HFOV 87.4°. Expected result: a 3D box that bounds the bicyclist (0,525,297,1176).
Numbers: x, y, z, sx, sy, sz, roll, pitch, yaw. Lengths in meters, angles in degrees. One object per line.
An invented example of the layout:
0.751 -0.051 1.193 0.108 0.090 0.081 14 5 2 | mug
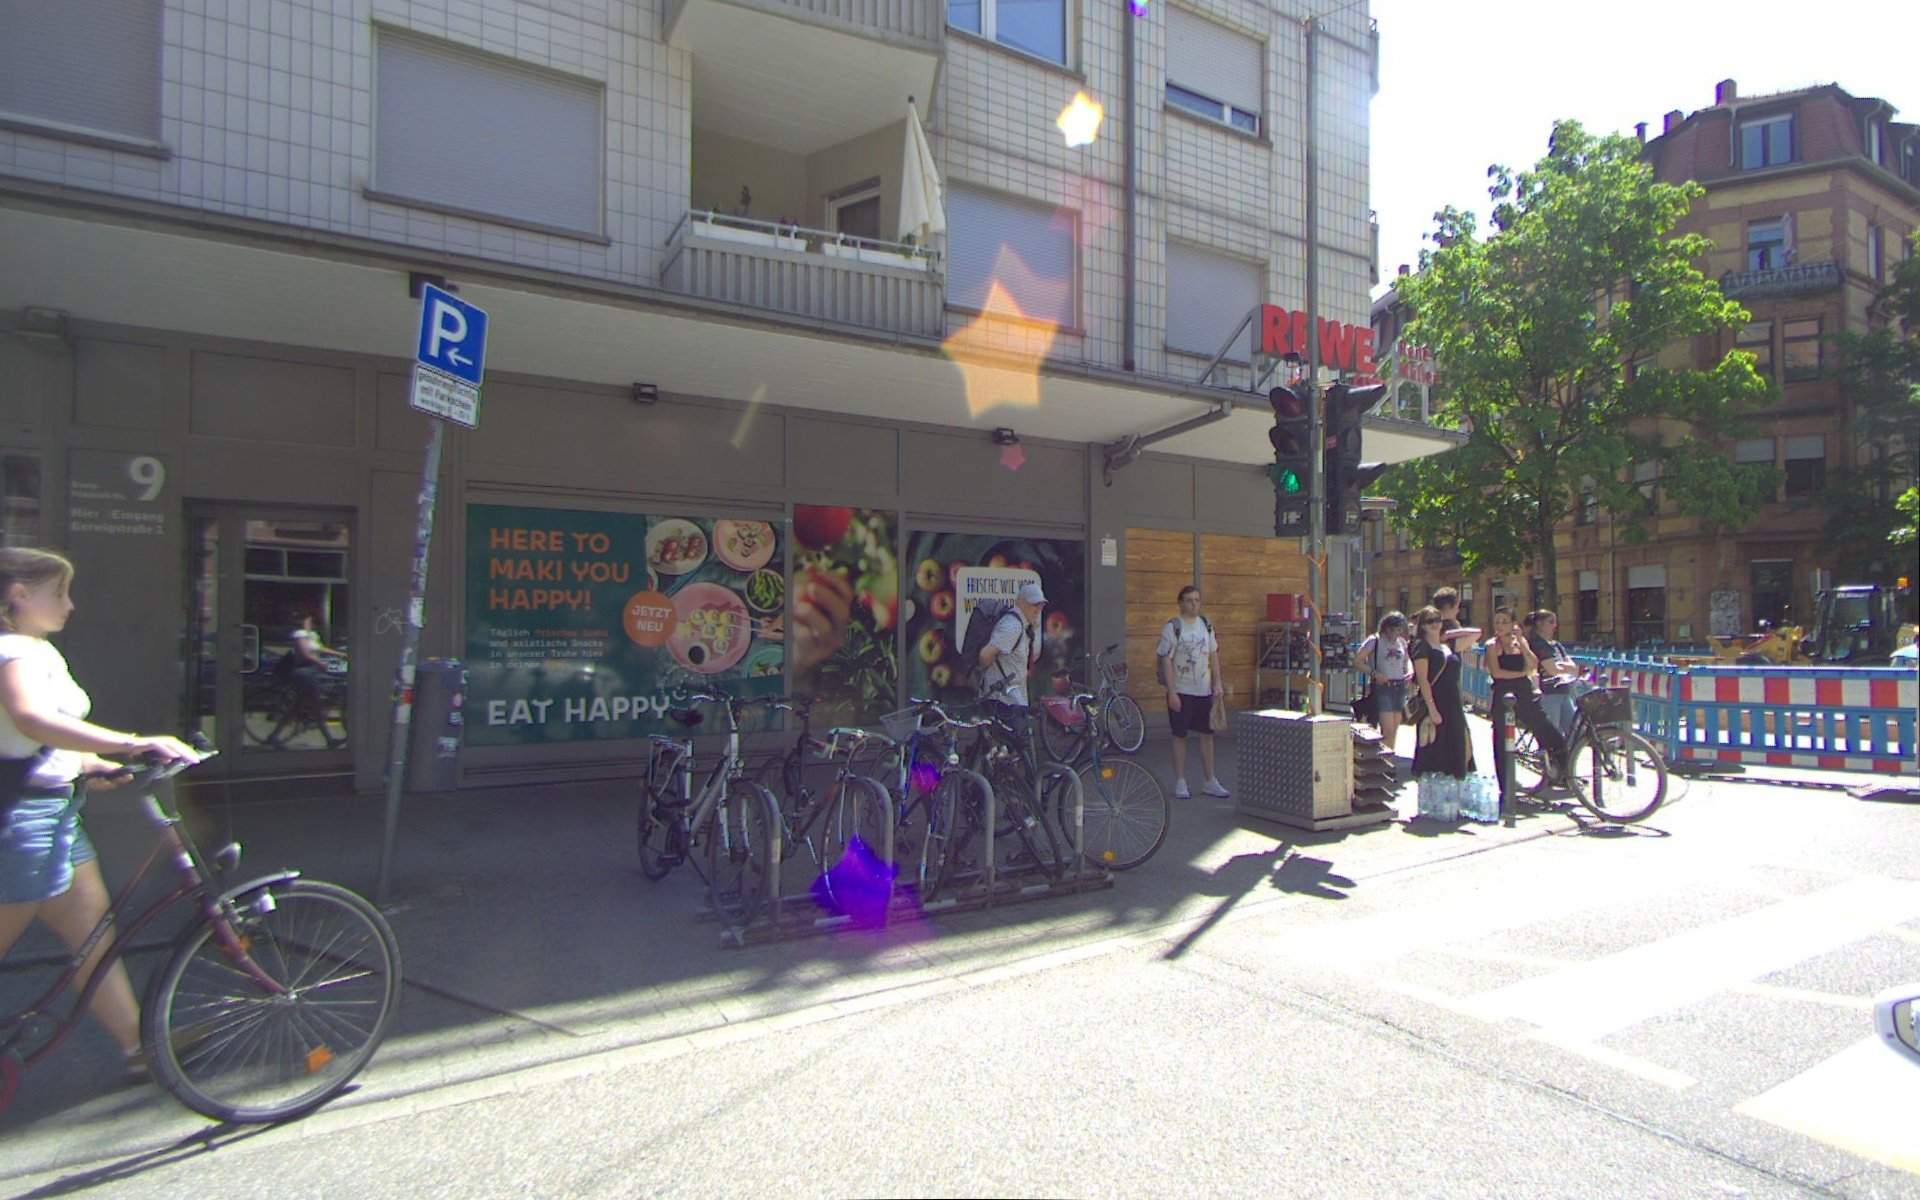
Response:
-2.659 0.675 3.021 0.616 1.729 0.973 -1 -2 42 | bicyclist

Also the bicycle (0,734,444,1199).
-2.535 1.012 2.726 0.596 1.106 1.930 -1 -2 41 | bicycle

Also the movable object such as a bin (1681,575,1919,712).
18.812 0.875 22.004 1.933 2.694 4.519 1 0 -31 | movable object such as a bin

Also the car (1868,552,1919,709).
19.277 0.560 16.121 2.350 2.788 6.594 1 -1 -28 | car

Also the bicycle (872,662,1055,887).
-0.027 1.003 6.229 0.332 1.132 1.510 1 0 -34 | bicycle

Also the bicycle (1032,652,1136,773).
1.287 1.100 10.210 0.317 1.101 1.425 0 -1 41 | bicycle

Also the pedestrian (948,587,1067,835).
0.354 0.798 7.564 0.627 1.749 0.651 1 -2 -39 | pedestrian

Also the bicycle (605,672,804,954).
-1.414 1.023 5.356 0.521 1.154 1.574 1 0 -34 | bicycle

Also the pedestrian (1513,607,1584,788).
5.523 0.894 9.425 0.470 1.639 0.387 1 -2 -32 | pedestrian

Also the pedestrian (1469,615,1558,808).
4.721 0.930 8.586 0.450 1.586 0.497 0 0 -4 | pedestrian

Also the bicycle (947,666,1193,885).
0.664 1.068 6.678 0.572 1.138 1.786 1 0 -35 | bicycle

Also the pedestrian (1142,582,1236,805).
1.930 0.764 8.477 0.593 1.794 0.506 1 -2 -32 | pedestrian

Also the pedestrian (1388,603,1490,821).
3.818 0.866 8.013 0.506 1.654 0.538 1 -2 -32 | pedestrian

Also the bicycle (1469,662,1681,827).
5.054 1.132 8.400 0.459 1.134 1.808 0 0 -8 | bicycle

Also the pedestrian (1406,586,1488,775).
4.958 0.801 10.238 0.593 1.844 0.506 1 -2 -32 | pedestrian

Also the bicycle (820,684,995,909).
-0.355 1.086 5.939 0.332 1.050 1.438 1 0 -34 | bicycle

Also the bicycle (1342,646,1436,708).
7.803 1.381 18.318 1.553 1.086 0.340 -2 -3 44 | bicycle

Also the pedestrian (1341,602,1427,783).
4.043 0.858 9.587 0.593 1.654 0.506 1 -2 -32 | pedestrian

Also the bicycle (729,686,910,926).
-0.840 1.079 5.677 0.394 1.044 1.484 1 0 -34 | bicycle
